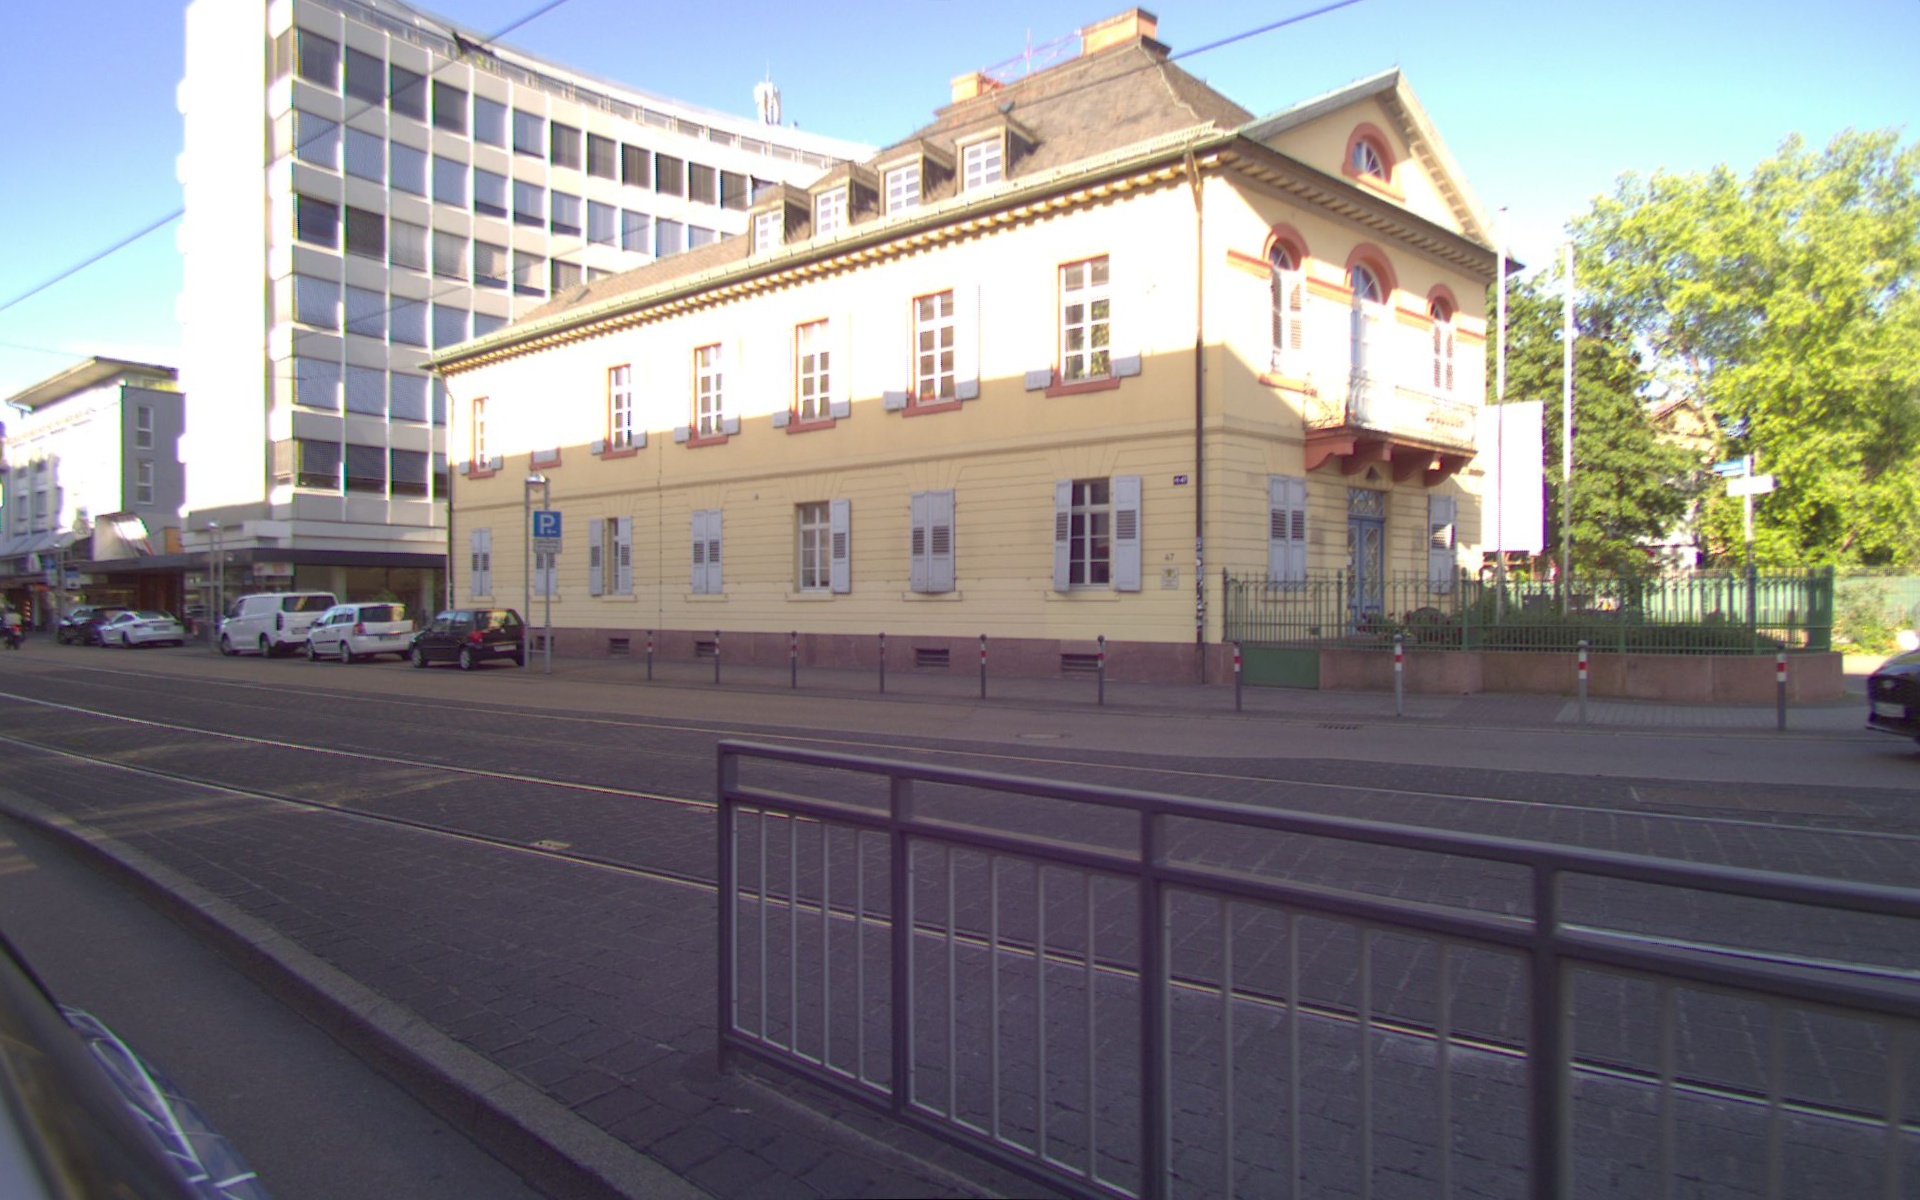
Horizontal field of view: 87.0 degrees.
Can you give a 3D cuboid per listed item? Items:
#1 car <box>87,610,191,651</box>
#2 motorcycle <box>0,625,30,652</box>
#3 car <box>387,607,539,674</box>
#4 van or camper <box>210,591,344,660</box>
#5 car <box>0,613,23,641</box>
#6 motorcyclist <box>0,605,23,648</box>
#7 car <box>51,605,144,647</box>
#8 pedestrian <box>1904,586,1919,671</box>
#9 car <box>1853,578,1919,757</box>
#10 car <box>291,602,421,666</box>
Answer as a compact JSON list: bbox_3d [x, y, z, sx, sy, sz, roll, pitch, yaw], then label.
[{"bbox_3d":[-32.219,1.148,39.705,4.280,1.463,1.911,0,1,33],"label":"car"},{"bbox_3d":[-35.919,1.445,38.175,2.147,0.933,0.595,0,0,30],"label":"motorcycle"},{"bbox_3d":[-12.284,0.945,24.951,3.954,1.450,1.761,0,2,37],"label":"car"},{"bbox_3d":[-21.483,0.742,31.774,4.787,1.988,1.938,0,1,36],"label":"van or camper"},{"bbox_3d":[-51.212,1.422,53.496,3.589,1.427,1.766,0,0,35],"label":"car"},{"bbox_3d":[-35.965,0.996,38.205,0.881,1.570,0.648,0,0,30],"label":"motorcyclist"},{"bbox_3d":[-36.552,1.053,42.879,4.271,1.654,1.910,0,1,34],"label":"car"},{"bbox_3d":[21.253,0.617,22.197,0.696,1.865,0.741,0,0,-42],"label":"pedestrian"},{"bbox_3d":[10.395,0.583,8.409,4.087,1.572,1.681,0,0,17],"label":"car"},{"bbox_3d":[-16.952,0.887,28.328,4.171,1.632,1.760,0,2,39],"label":"car"}]
